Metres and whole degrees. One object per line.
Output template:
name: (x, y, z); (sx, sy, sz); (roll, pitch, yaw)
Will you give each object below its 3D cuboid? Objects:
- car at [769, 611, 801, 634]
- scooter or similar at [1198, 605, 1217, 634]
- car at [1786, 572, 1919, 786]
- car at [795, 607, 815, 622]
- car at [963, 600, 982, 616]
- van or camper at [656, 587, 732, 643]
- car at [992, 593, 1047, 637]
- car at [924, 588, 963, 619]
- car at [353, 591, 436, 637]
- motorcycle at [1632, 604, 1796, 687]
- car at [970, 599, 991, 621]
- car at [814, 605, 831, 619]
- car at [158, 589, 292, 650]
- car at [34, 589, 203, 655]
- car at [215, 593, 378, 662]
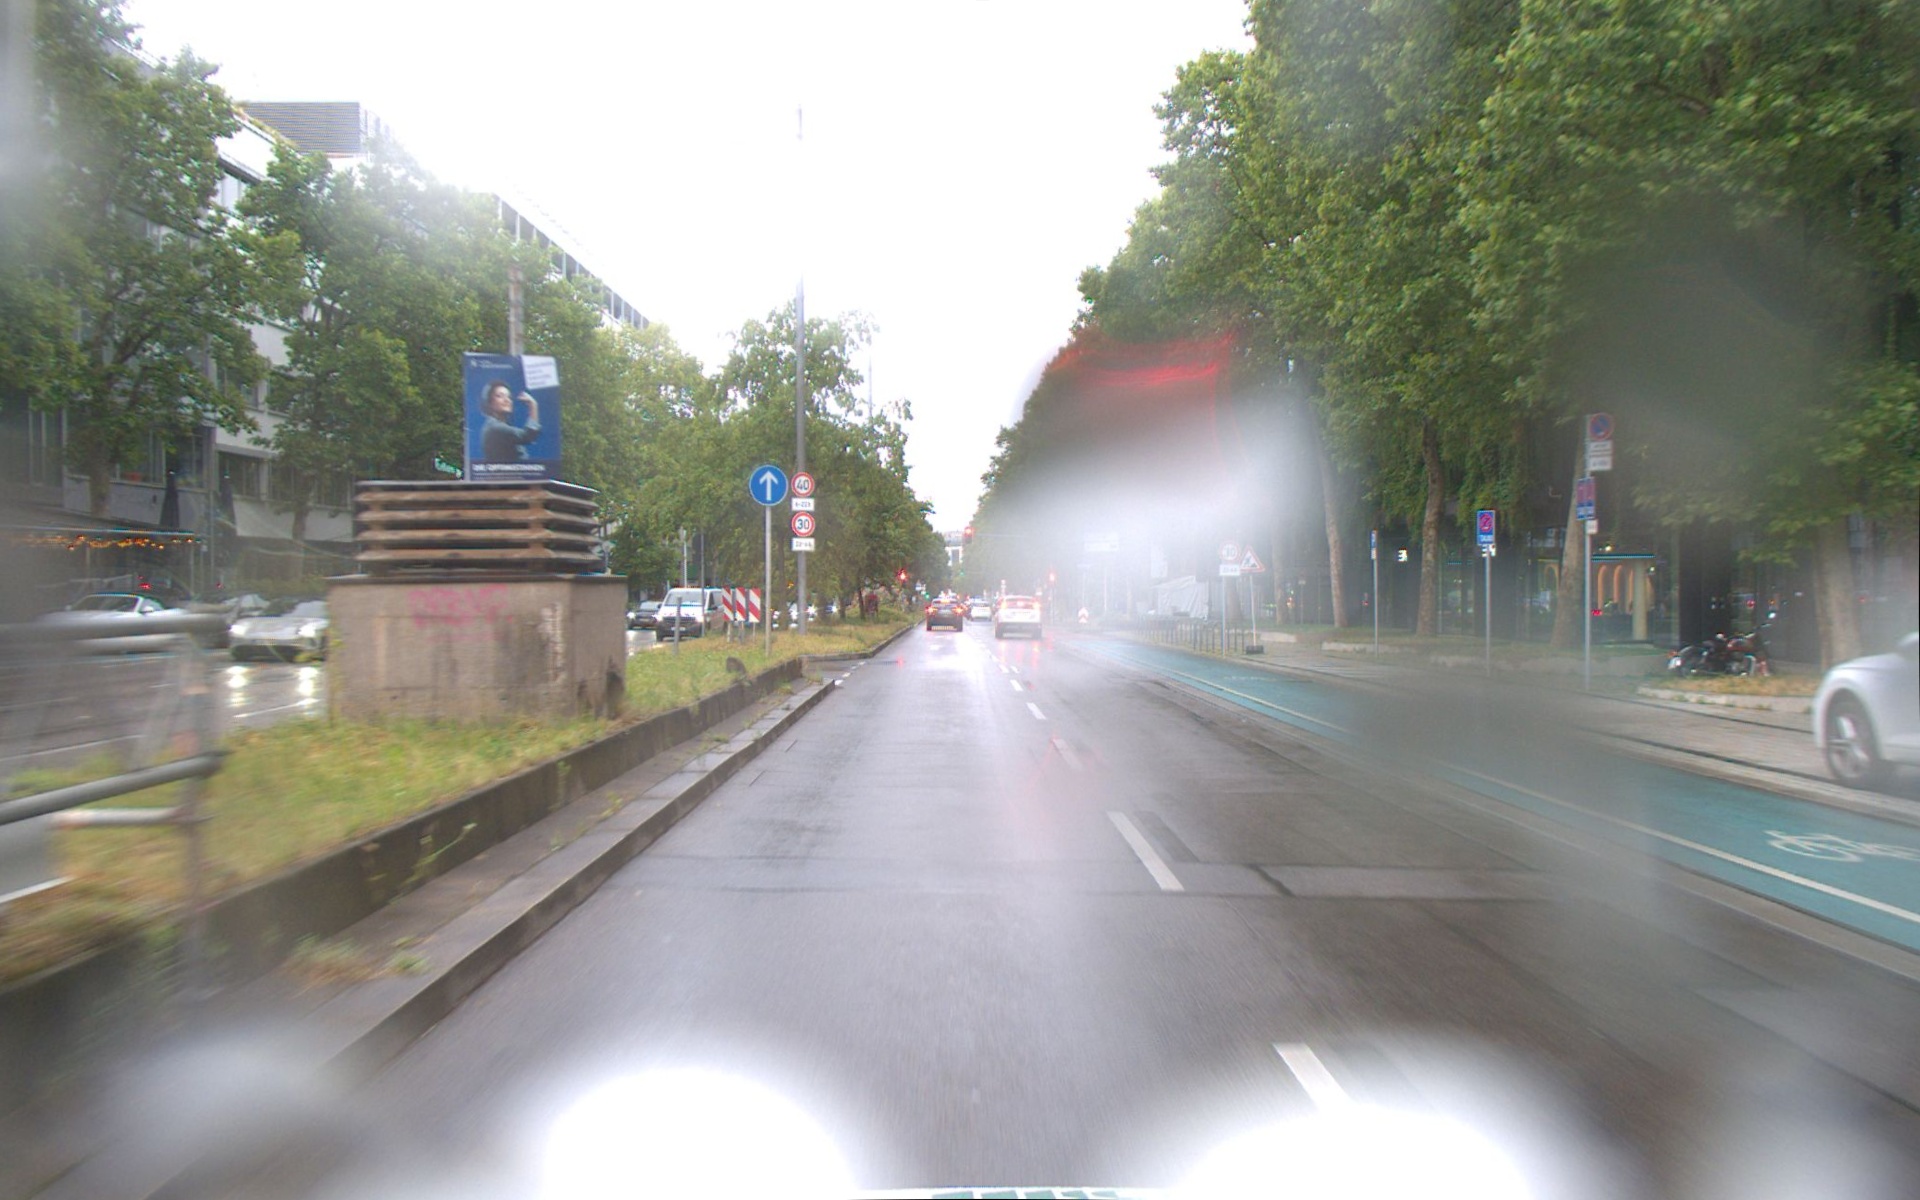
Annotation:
car: (-11.643, 1.500, 110.467); (1.806, 1.454, 3.642); (0, 0, -1)
scooter or similar: (11.138, 0.874, 74.399); (0.374, 1.249, 1.075); (0, 0, 35)
car: (8.345, 0.620, 12.432); (1.806, 1.661, 4.785); (0, 0, -1)
car: (-14.913, 1.378, 158.842); (1.581, 1.418, 4.183); (0, 0, -1)
car: (1.091, 0.683, 145.951); (1.587, 1.398, 3.999); (0, 0, -1)
van or camper: (-9.624, 0.505, 60.223); (1.953, 1.947, 5.250); (0, 0, -1)
car: (2.359, 0.565, 66.807); (1.953, 1.684, 4.888); (0, 0, -1)
car: (-0.835, 0.162, 82.868); (1.879, 1.517, 3.999); (0, 0, -1)
car: (-19.139, 0.462, 56.117); (1.658, 1.494, 3.459); (0, 0, -1)
motorcycle: (12.694, 0.754, 27.897); (2.261, 1.292, 1.052); (2, 0, -2)
car: (1.662, 0.801, 134.496); (1.587, 1.695, 3.999); (-1, 0, -1)
car: (-14.867, 1.287, 179.075); (1.581, 1.418, 3.597); (0, 0, -1)
car: (-19.301, 0.473, 43.609); (1.799, 1.534, 3.999); (0, 0, -1)
car: (-19.303, 0.471, 38.191); (1.527, 1.377, 4.682); (1, 1, -1)
car: (-14.780, 0.572, 37.137); (1.928, 1.434, 4.953); (0, 0, -4)
